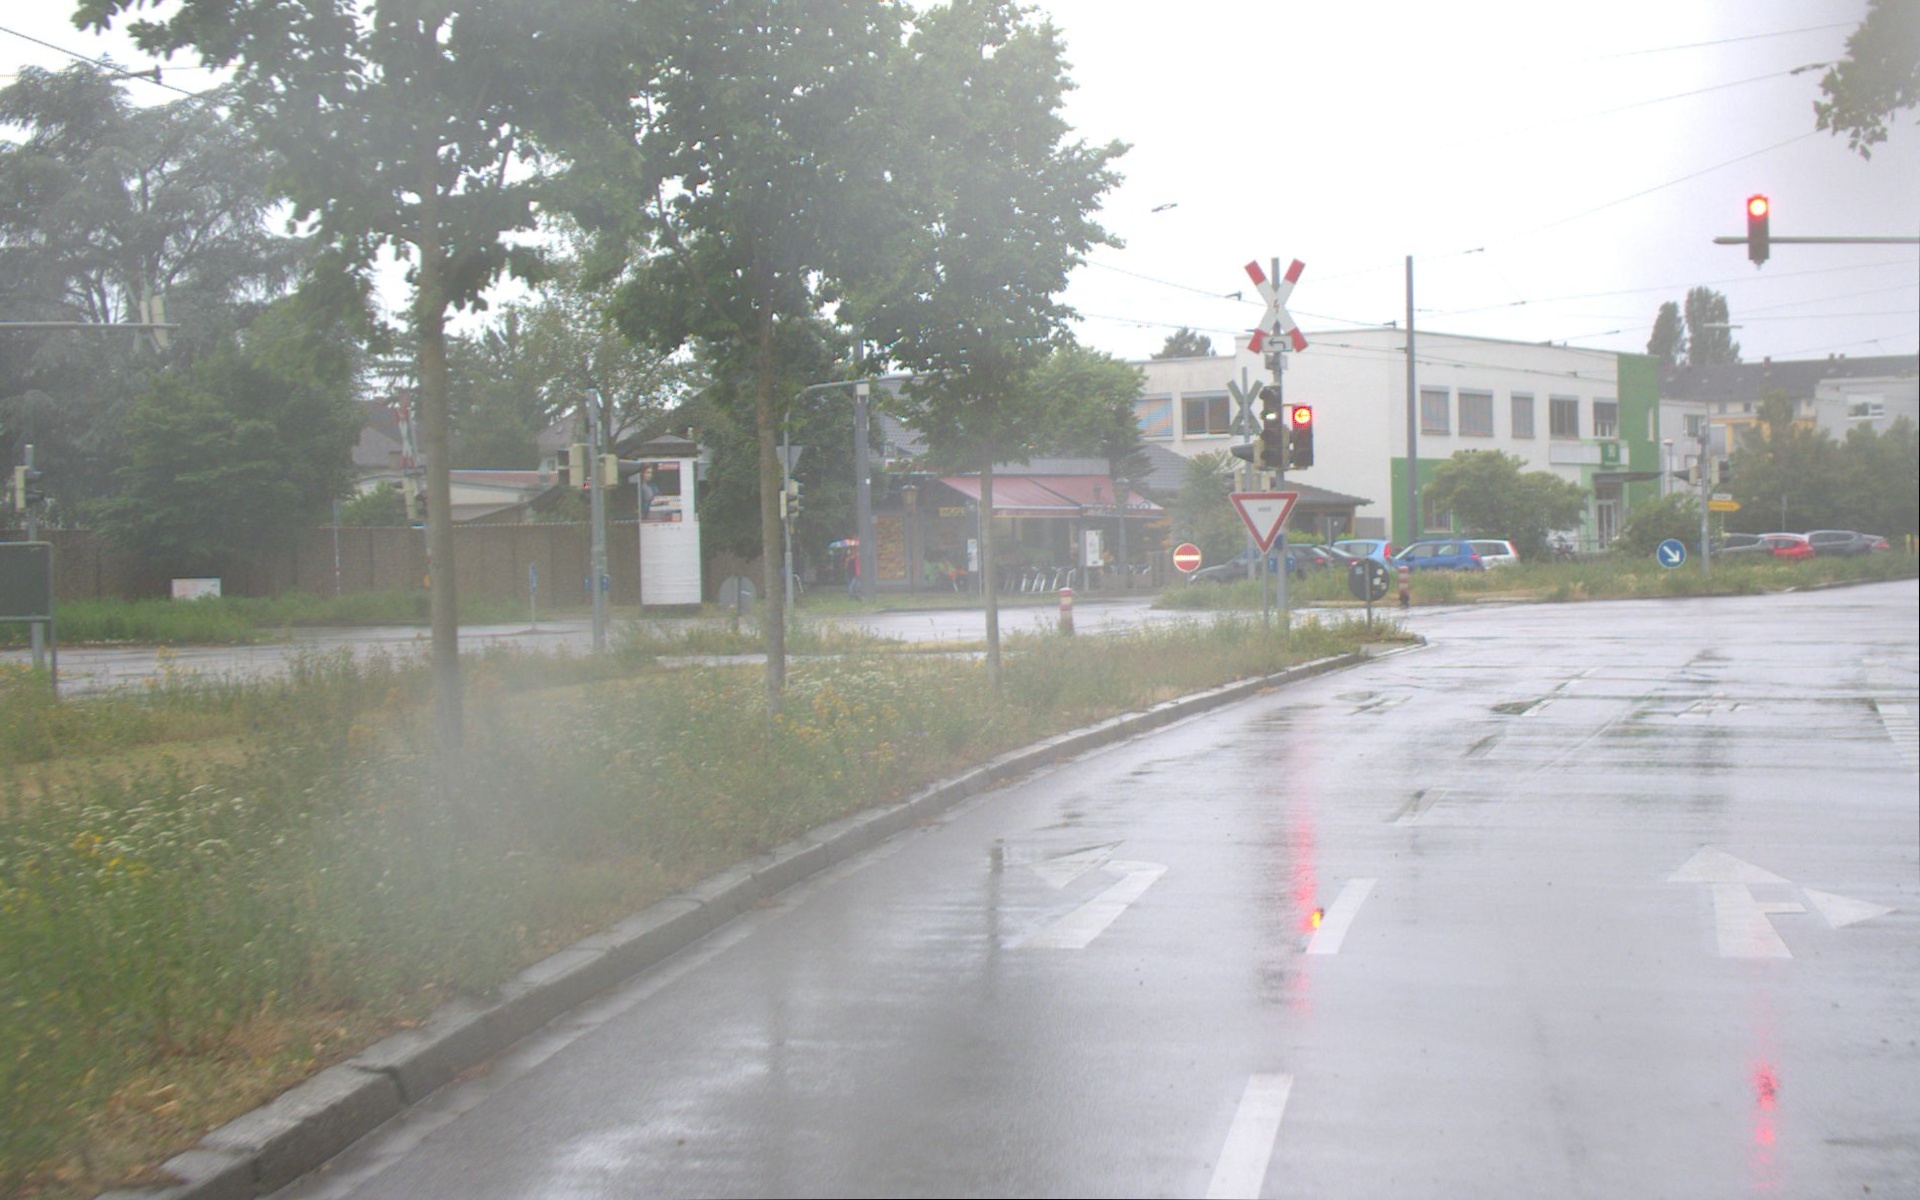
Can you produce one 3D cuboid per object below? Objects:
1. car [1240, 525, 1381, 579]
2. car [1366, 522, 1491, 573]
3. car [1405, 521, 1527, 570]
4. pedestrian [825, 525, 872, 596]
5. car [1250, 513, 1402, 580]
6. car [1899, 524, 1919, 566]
[{"bbox_3d":[10.058,-1.383,98.577,3.753,1.437,1.761,-2,1,16],"label":"car"},{"bbox_3d":[14.462,-1.630,106.151,3.751,1.437,1.762,-2,1,7],"label":"car"},{"bbox_3d":[16.048,-1.735,109.143,3.751,1.437,1.762,-2,1,7],"label":"car"},{"bbox_3d":[-2.842,-0.995,87.273,0.800,1.757,0.909,-2,1,-31],"label":"pedestrian"},{"bbox_3d":[10.861,-1.590,101.939,4.139,1.853,1.672,-2,1,20],"label":"car"},{"bbox_3d":[45.104,-2.567,156.874,4.136,1.853,1.673,-2,0,9],"label":"car"}]
